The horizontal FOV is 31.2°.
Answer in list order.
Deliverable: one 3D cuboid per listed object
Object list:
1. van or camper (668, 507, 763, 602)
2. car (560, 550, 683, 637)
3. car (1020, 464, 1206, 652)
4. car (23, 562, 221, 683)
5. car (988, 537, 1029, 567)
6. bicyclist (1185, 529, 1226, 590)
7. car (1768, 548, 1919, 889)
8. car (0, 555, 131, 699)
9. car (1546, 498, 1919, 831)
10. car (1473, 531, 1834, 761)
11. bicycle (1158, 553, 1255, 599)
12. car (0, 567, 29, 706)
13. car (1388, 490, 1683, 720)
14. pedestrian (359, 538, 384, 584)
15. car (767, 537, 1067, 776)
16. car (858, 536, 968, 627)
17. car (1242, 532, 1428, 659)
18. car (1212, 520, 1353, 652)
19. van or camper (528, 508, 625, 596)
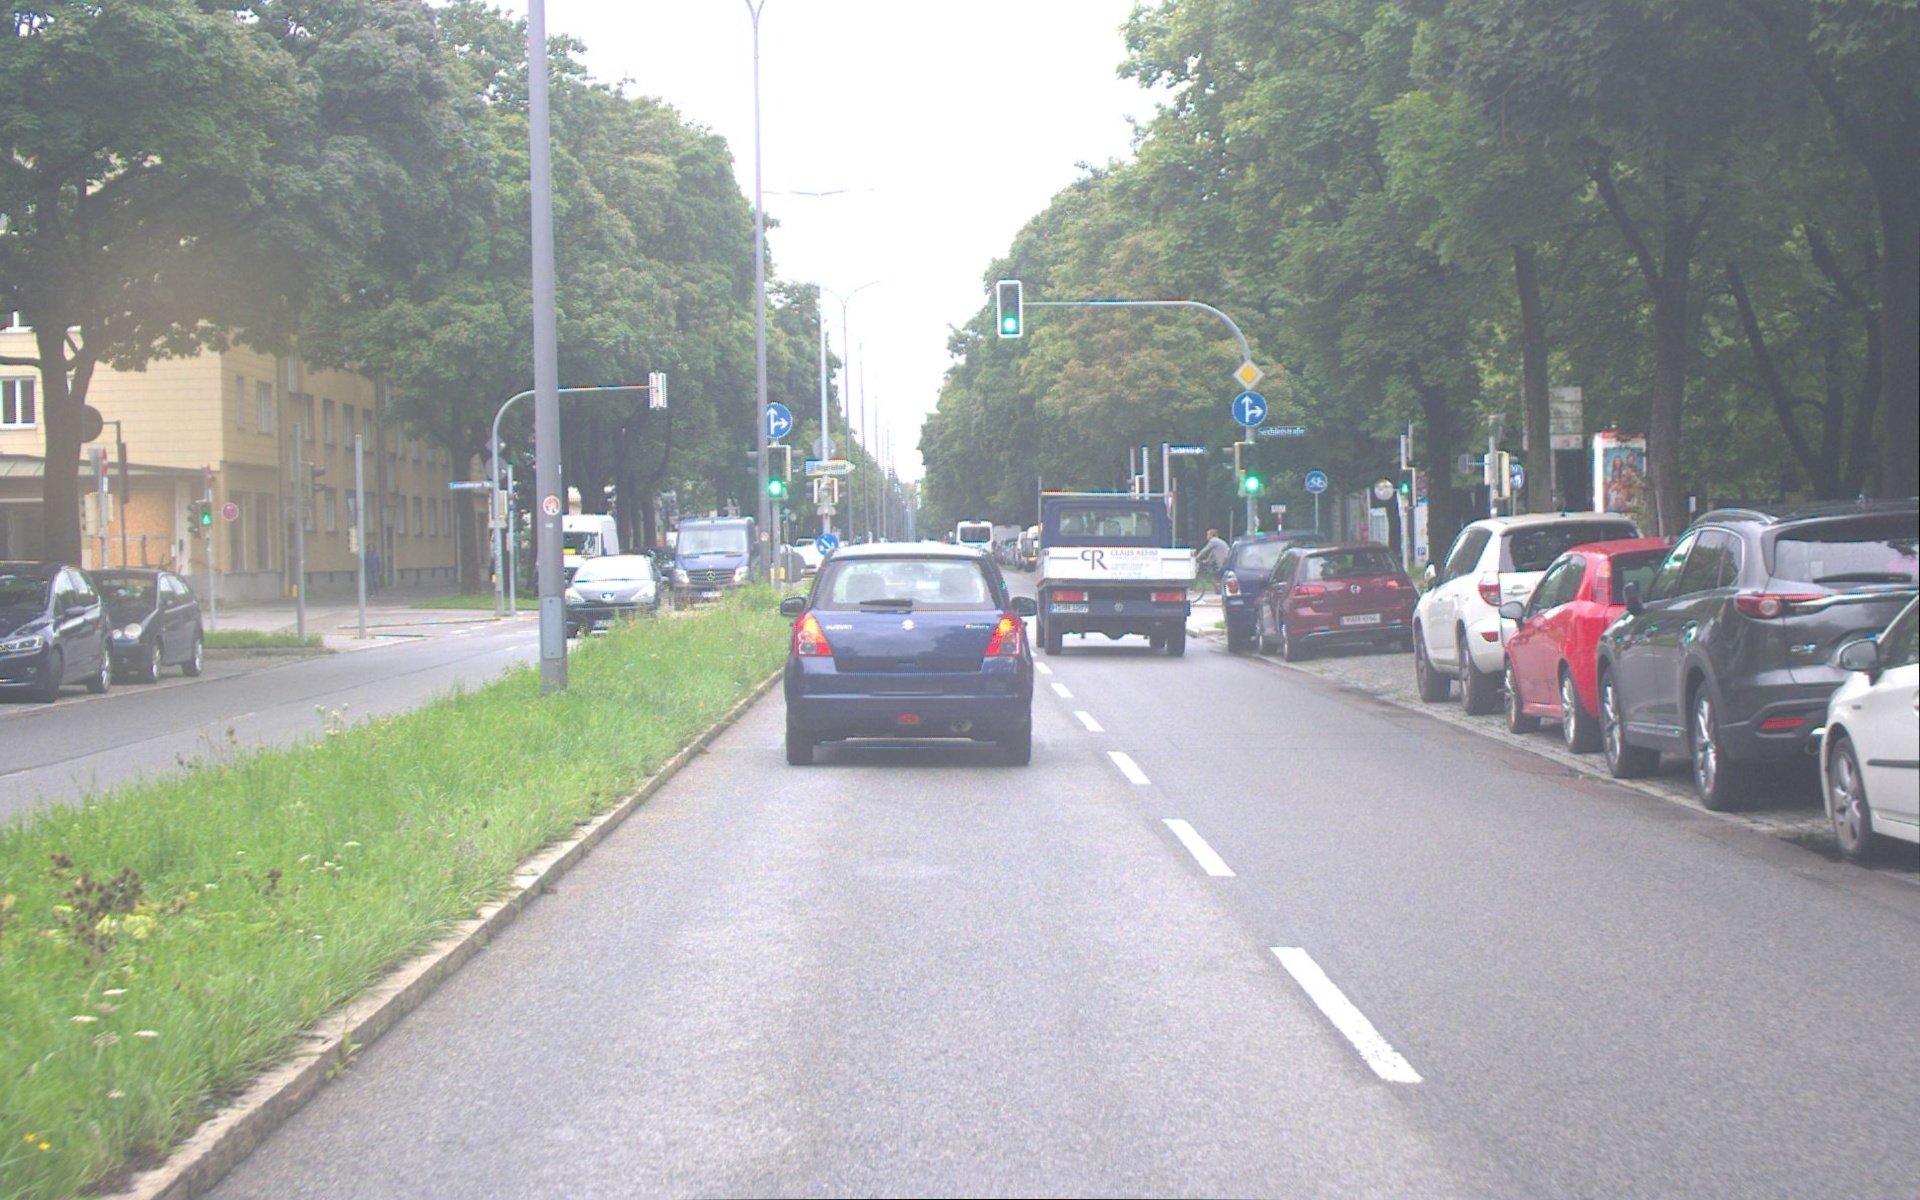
[{"bbox_3d":[-6.104,-1.164,86.493,2.023,2.253,6.022,-2,1,-1],"label":"van or camper"},{"bbox_3d":[-6.011,-0.141,61.393,1.737,1.437,4.103,-2,1,0],"label":"car"},{"bbox_3d":[2.036,-0.597,47.258,2.419,2.435,5.086,0,1,1],"label":"car"},{"bbox_3d":[-11.045,0.267,45.519,1.564,1.445,3.838,2,1,1],"label":"car"},{"bbox_3d":[2.445,-2.419,173.568,1.786,1.494,3.661,0,1,-4],"label":"car"},{"bbox_3d":[5.944,-0.989,83.209,0.930,1.474,0.990,0,1,1],"label":"bicyclist"},{"bbox_3d":[5.058,0.498,15.219,1.760,1.448,4.633,-3,1,-1],"label":"car"},{"bbox_3d":[-10.909,0.278,39.963,1.666,1.557,4.300,-1,1,-3],"label":"car"},{"bbox_3d":[4.935,0.279,20.779,1.760,1.692,5.230,-3,1,-1],"label":"car"},{"bbox_3d":[5.103,0.277,25.838,1.760,1.501,4.144,-3,1,-1],"label":"car"},{"bbox_3d":[5.956,-0.588,83.216,2.297,1.110,0.996,0,1,1],"label":"bicycle"},{"bbox_3d":[-10.883,0.396,34.936,1.666,1.440,4.375,2,1,-1],"label":"car"},{"bbox_3d":[5.076,-0.003,30.885,1.760,1.824,4.528,-3,1,-1],"label":"car"},{"bbox_3d":[-18.500,-1.216,108.075,0.629,1.435,0.806,1,0,0],"label":"pedestrian"},{"bbox_3d":[-0.383,0.336,24.347,1.896,1.494,3.661,-2,1,-3],"label":"car"},{"bbox_3d":[-0.826,-0.345,59.321,1.799,1.494,3.660,-1,1,-1],"label":"car"},{"bbox_3d":[4.833,-0.096,44.832,1.712,1.419,4.284,-5,1,-2],"label":"car"},{"bbox_3d":[4.611,-0.244,49.604,1.763,1.652,4.283,-5,1,4],"label":"car"},{"bbox_3d":[-11.425,-1.456,102.847,2.140,2.467,6.259,-2,1,0],"label":"van or camper"}]
